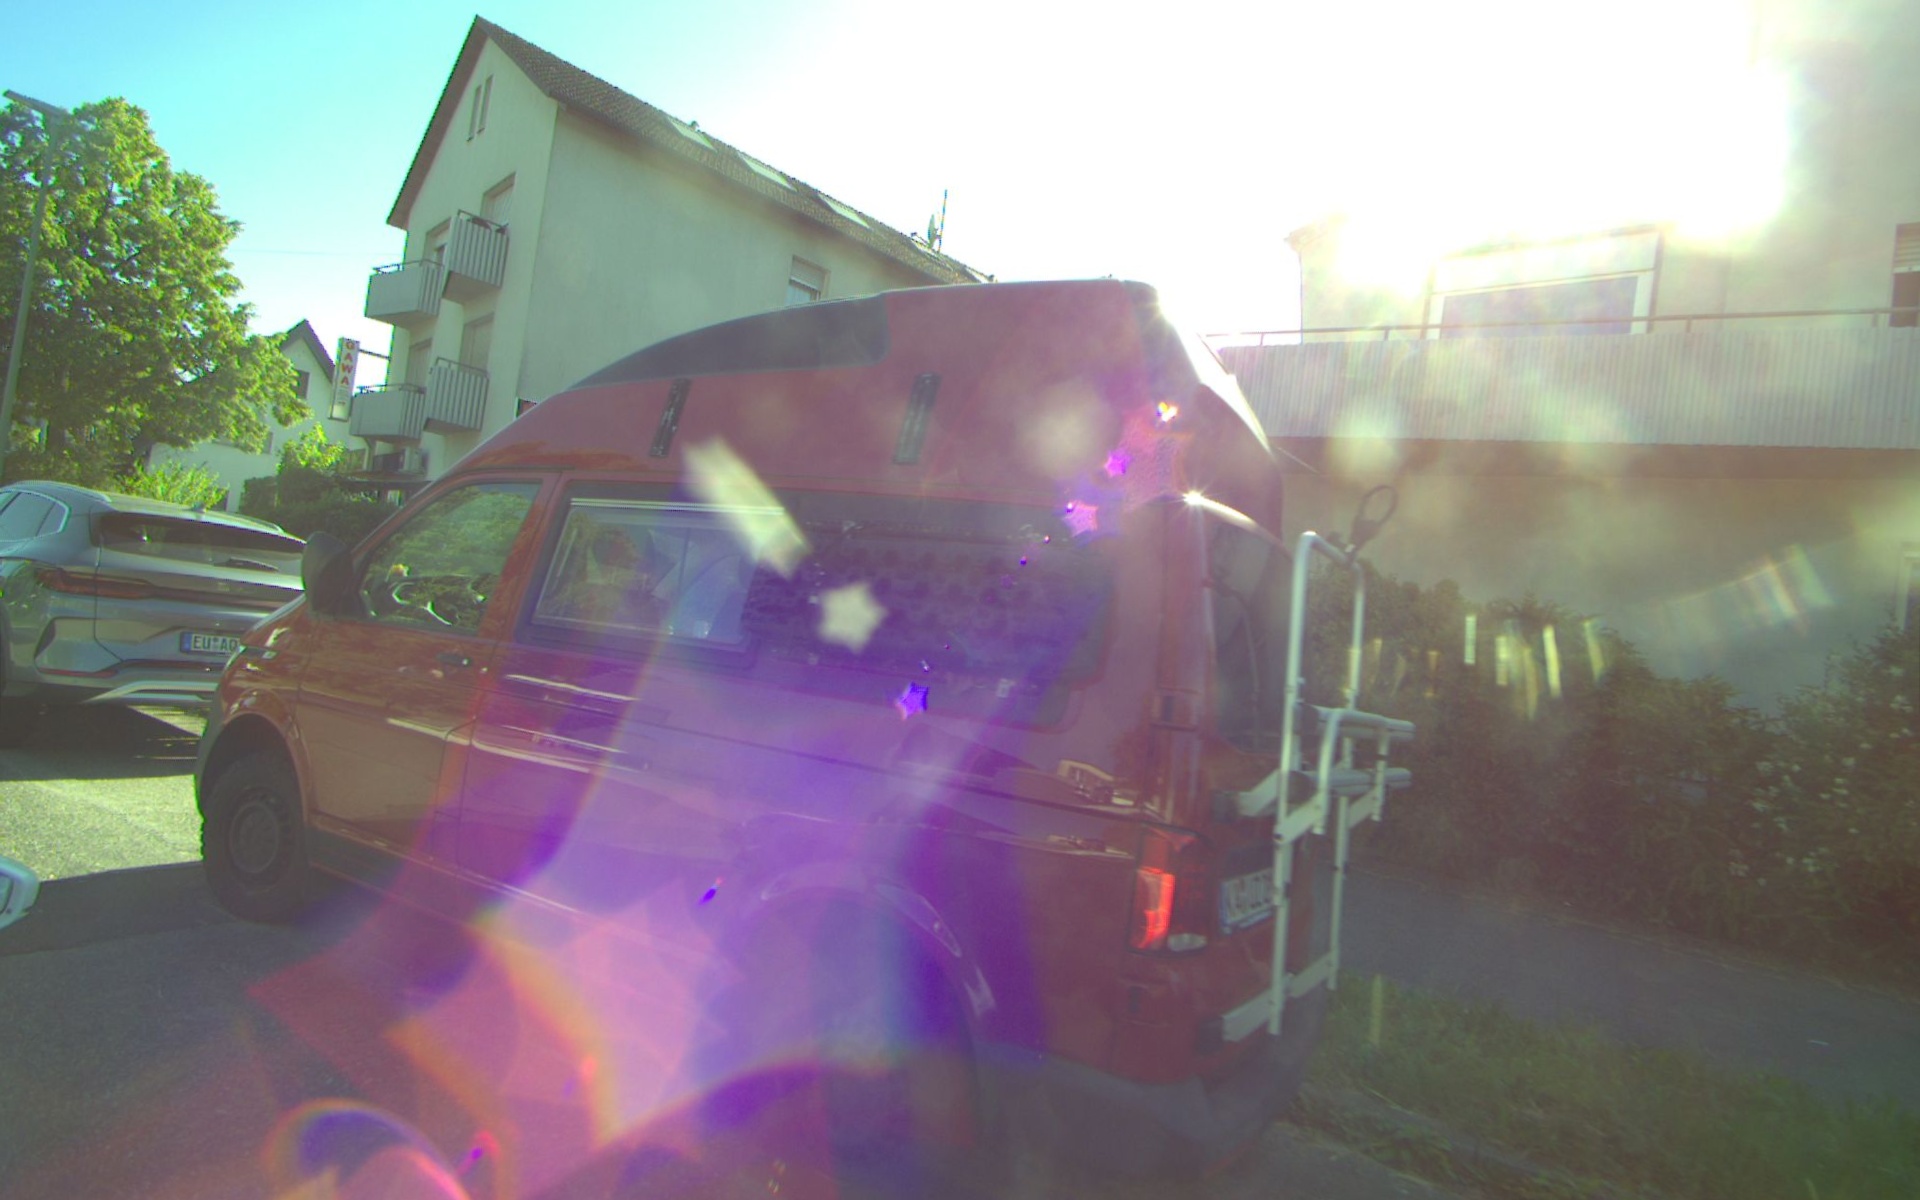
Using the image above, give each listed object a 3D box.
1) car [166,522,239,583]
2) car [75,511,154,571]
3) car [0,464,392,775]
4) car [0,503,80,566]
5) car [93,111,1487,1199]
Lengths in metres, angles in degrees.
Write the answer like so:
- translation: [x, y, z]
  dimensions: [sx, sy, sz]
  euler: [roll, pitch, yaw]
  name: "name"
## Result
- translation: [-25.936, -1.649, 34.388]
  dimensions: [1.702, 1.569, 4.355]
  euler: [11, -2, -39]
  name: "car"
- translation: [-28.305, -2.025, 33.778]
  dimensions: [1.702, 1.534, 4.355]
  euler: [11, -2, -39]
  name: "car"
- translation: [-6.716, 0.008, 7.755]
  dimensions: [4.500, 1.757, 1.962]
  euler: [7, -3, 31]
  name: "car"
- translation: [-29.378, -2.126, 31.664]
  dimensions: [4.737, 1.438, 1.991]
  euler: [8, -1, 43]
  name: "car"
- translation: [-0.948, 0.216, 4.041]
  dimensions: [5.134, 2.674, 1.963]
  euler: [7, -2, 30]
  name: "car"
